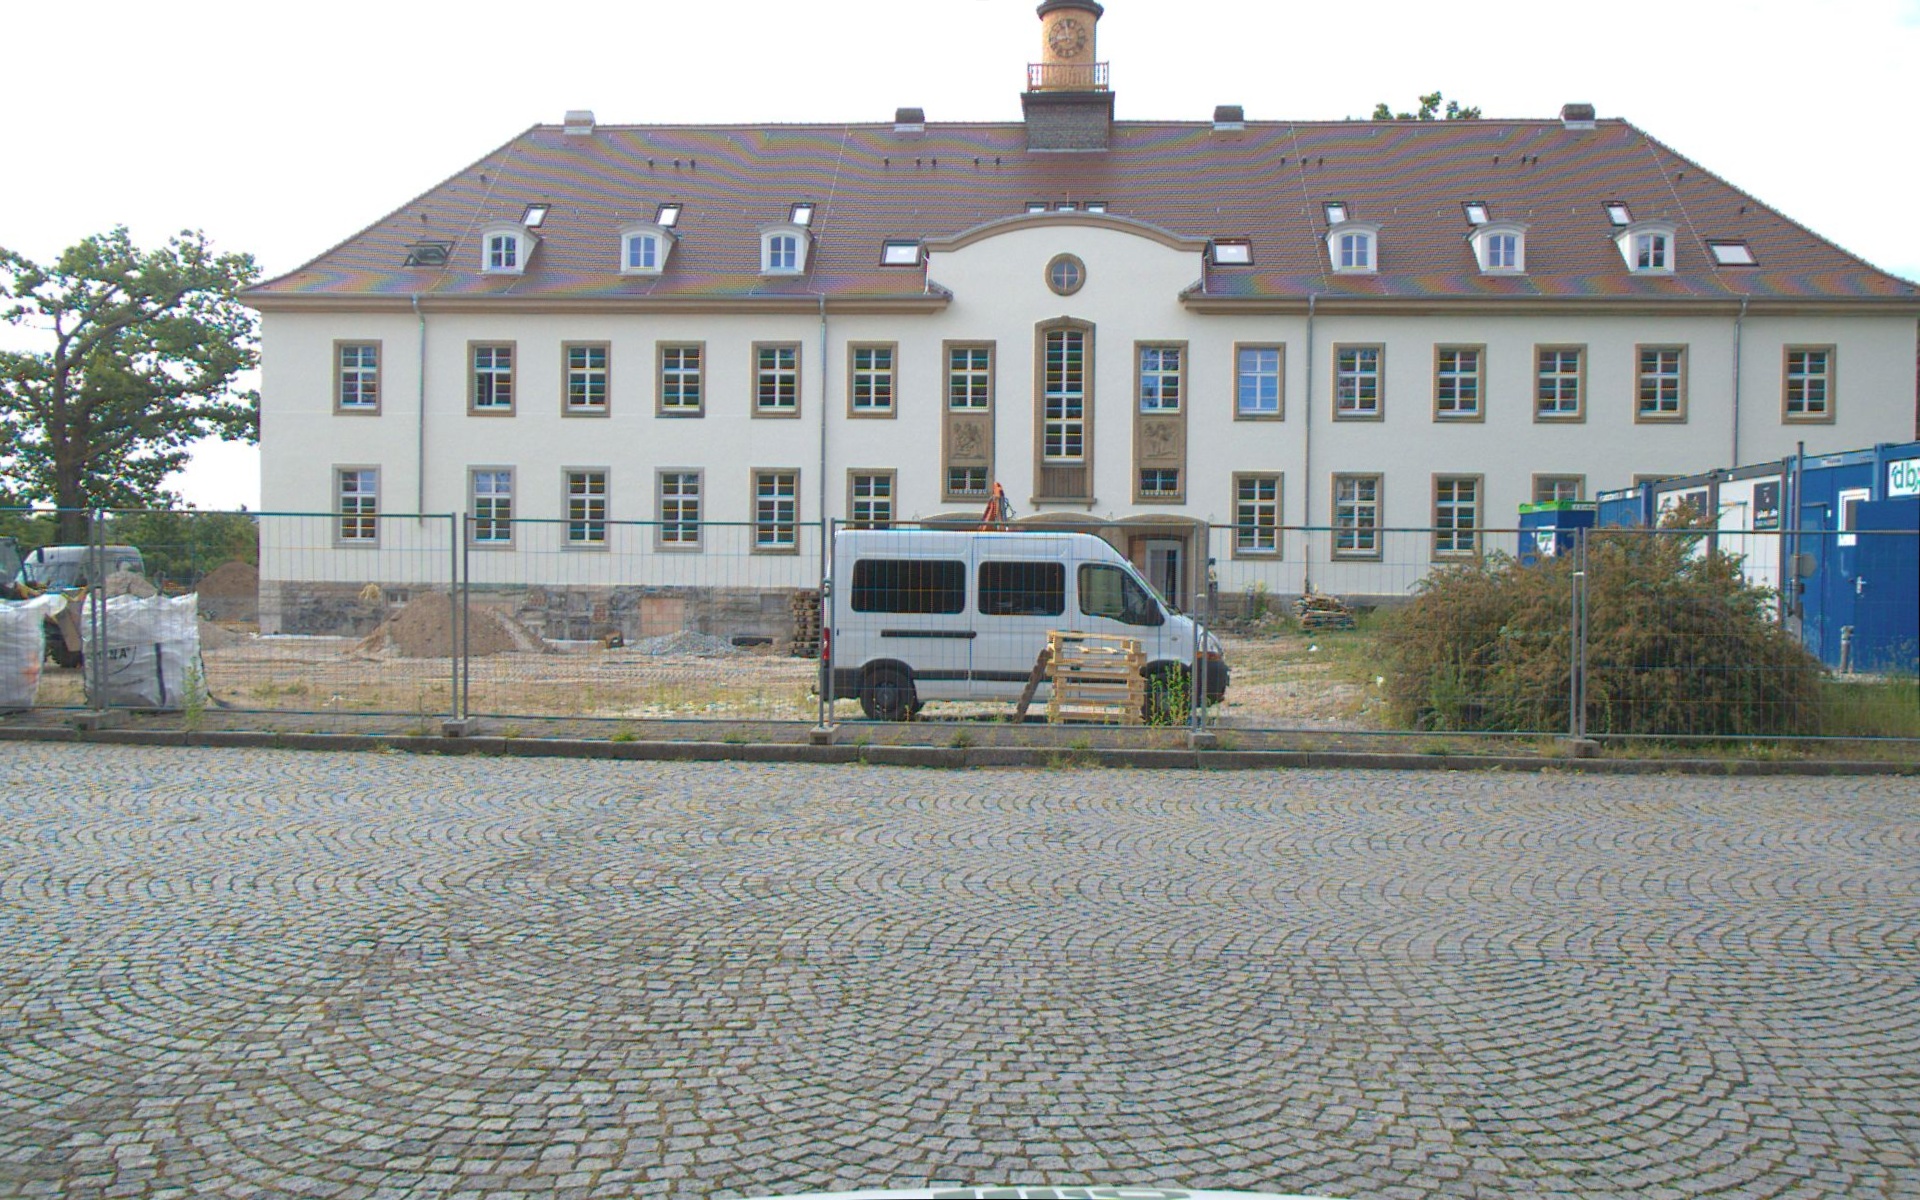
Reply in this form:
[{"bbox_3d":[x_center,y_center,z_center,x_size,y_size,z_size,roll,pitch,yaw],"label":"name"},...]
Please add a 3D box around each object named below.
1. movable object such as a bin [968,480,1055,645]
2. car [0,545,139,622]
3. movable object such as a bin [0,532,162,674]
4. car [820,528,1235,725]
[{"bbox_3d":[1.219,-0.897,41.232,1.953,3.837,5.317,1,0,0],"label":"movable object such as a bin"},{"bbox_3d":[-26.831,-0.497,49.710,2.026,2.188,4.896,0,0,-3],"label":"car"},{"bbox_3d":[-18.407,0.033,31.725,5.218,2.601,2.001,0,0,2],"label":"movable object such as a bin"},{"bbox_3d":[0.894,0.311,21.562,5.151,2.385,1.911,1,0,5],"label":"car"}]
